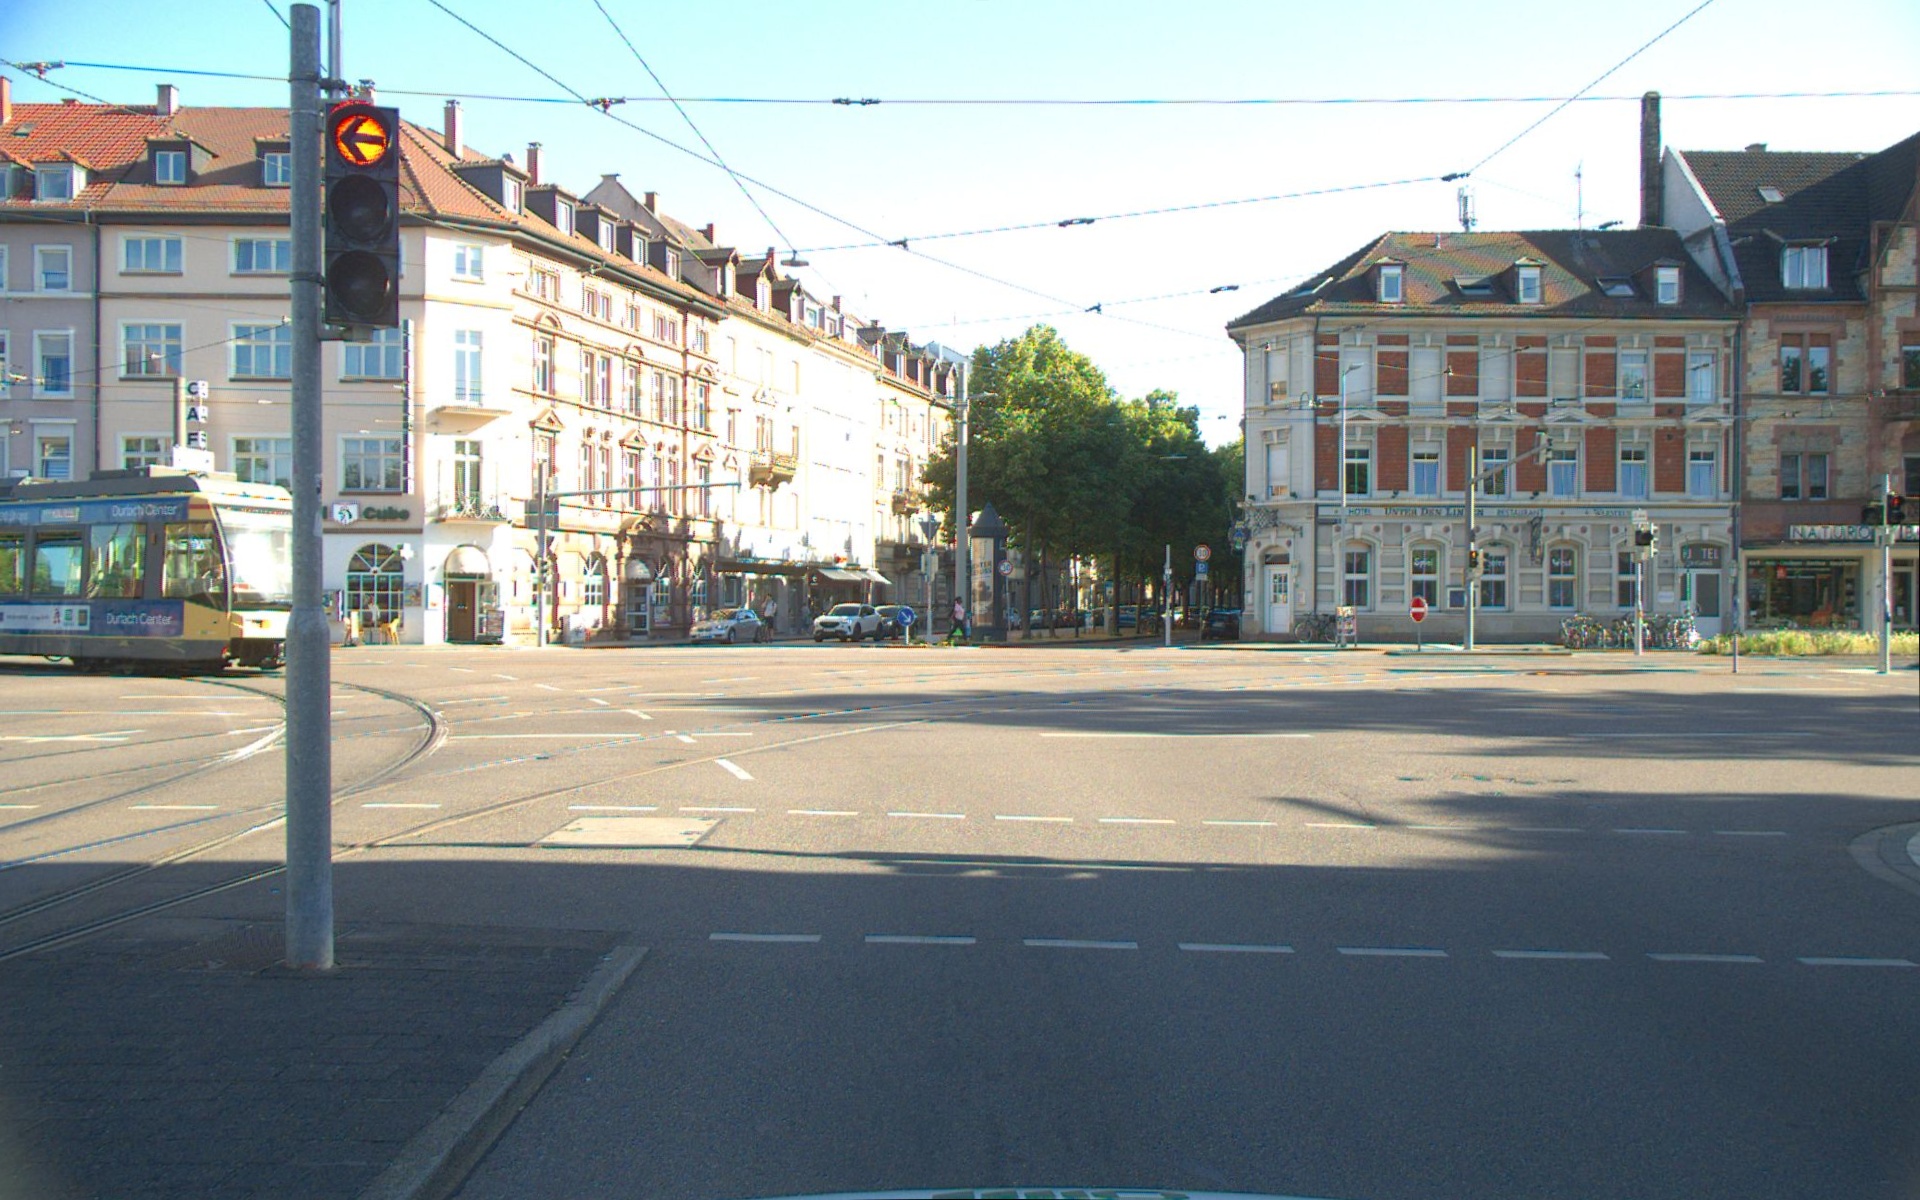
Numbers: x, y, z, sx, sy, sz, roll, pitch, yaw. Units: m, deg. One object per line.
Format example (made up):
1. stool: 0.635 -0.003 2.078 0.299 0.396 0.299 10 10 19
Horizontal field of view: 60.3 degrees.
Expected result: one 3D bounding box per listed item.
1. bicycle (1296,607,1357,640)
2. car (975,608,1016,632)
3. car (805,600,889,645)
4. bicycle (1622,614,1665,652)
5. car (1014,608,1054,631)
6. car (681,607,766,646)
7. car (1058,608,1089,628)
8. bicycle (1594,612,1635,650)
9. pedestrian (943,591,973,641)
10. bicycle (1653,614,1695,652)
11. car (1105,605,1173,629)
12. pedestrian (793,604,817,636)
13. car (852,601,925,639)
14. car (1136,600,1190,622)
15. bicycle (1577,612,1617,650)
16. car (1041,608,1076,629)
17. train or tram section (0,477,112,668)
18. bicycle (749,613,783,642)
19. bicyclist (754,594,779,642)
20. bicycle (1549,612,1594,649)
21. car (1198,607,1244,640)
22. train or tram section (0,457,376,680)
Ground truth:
1. bicycle: 12.751 0.816 57.577 2.045 1.144 0.366 1 -1 -5
2. car: 2.412 1.320 110.984 1.951 1.512 4.003 0 0 13
3. car: -4.543 0.882 67.247 1.951 1.713 4.393 0 0 17
4. bicycle: 22.072 1.053 53.444 0.605 1.163 2.175 0 0 4
5. car: 5.526 1.419 122.732 1.951 1.640 4.393 0 0 17
6. car: -9.526 1.033 66.894 1.858 1.481 4.002 0 0 17
7. car: 9.392 1.455 136.458 1.727 1.576 4.394 0 0 16
8. bicycle: 21.164 0.991 53.503 0.605 1.163 2.175 0 0 4
9. pedestrian: -0.071 0.569 58.670 1.025 1.774 0.808 0 0 -3
10. bicycle: 23.036 1.056 53.392 0.596 1.156 2.136 0 0 4
11. car: 12.516 1.192 115.642 4.290 1.640 1.998 0 0 26
12. pedestrian: -7.847 1.005 83.923 0.908 1.562 1.138 0 0 13
13. car: -3.148 0.859 73.782 1.951 1.640 4.393 0 0 17
14. car: 16.418 0.878 133.867 3.912 1.736 1.996 0 0 30
15. bicycle: 20.593 0.996 53.533 0.605 1.163 2.175 0 0 4
16. car: 7.780 1.416 130.556 1.798 1.579 4.393 0 0 16
17. train or tram section: -21.082 -0.524 33.514 8.273 3.561 2.820 0 0 29
18. bicycle: -7.596 1.079 64.884 0.665 1.085 2.127 0 0 12
19. bicyclist: -7.586 0.692 64.926 0.664 1.852 1.071 0 0 12
20. bicycle: 19.821 0.986 53.652 0.789 1.163 2.175 0 0 4
21. car: 13.069 1.156 82.628 1.951 1.613 4.003 0 0 13
22. train or tram section: -14.200 -0.524 29.591 7.790 3.561 2.818 0 0 31
